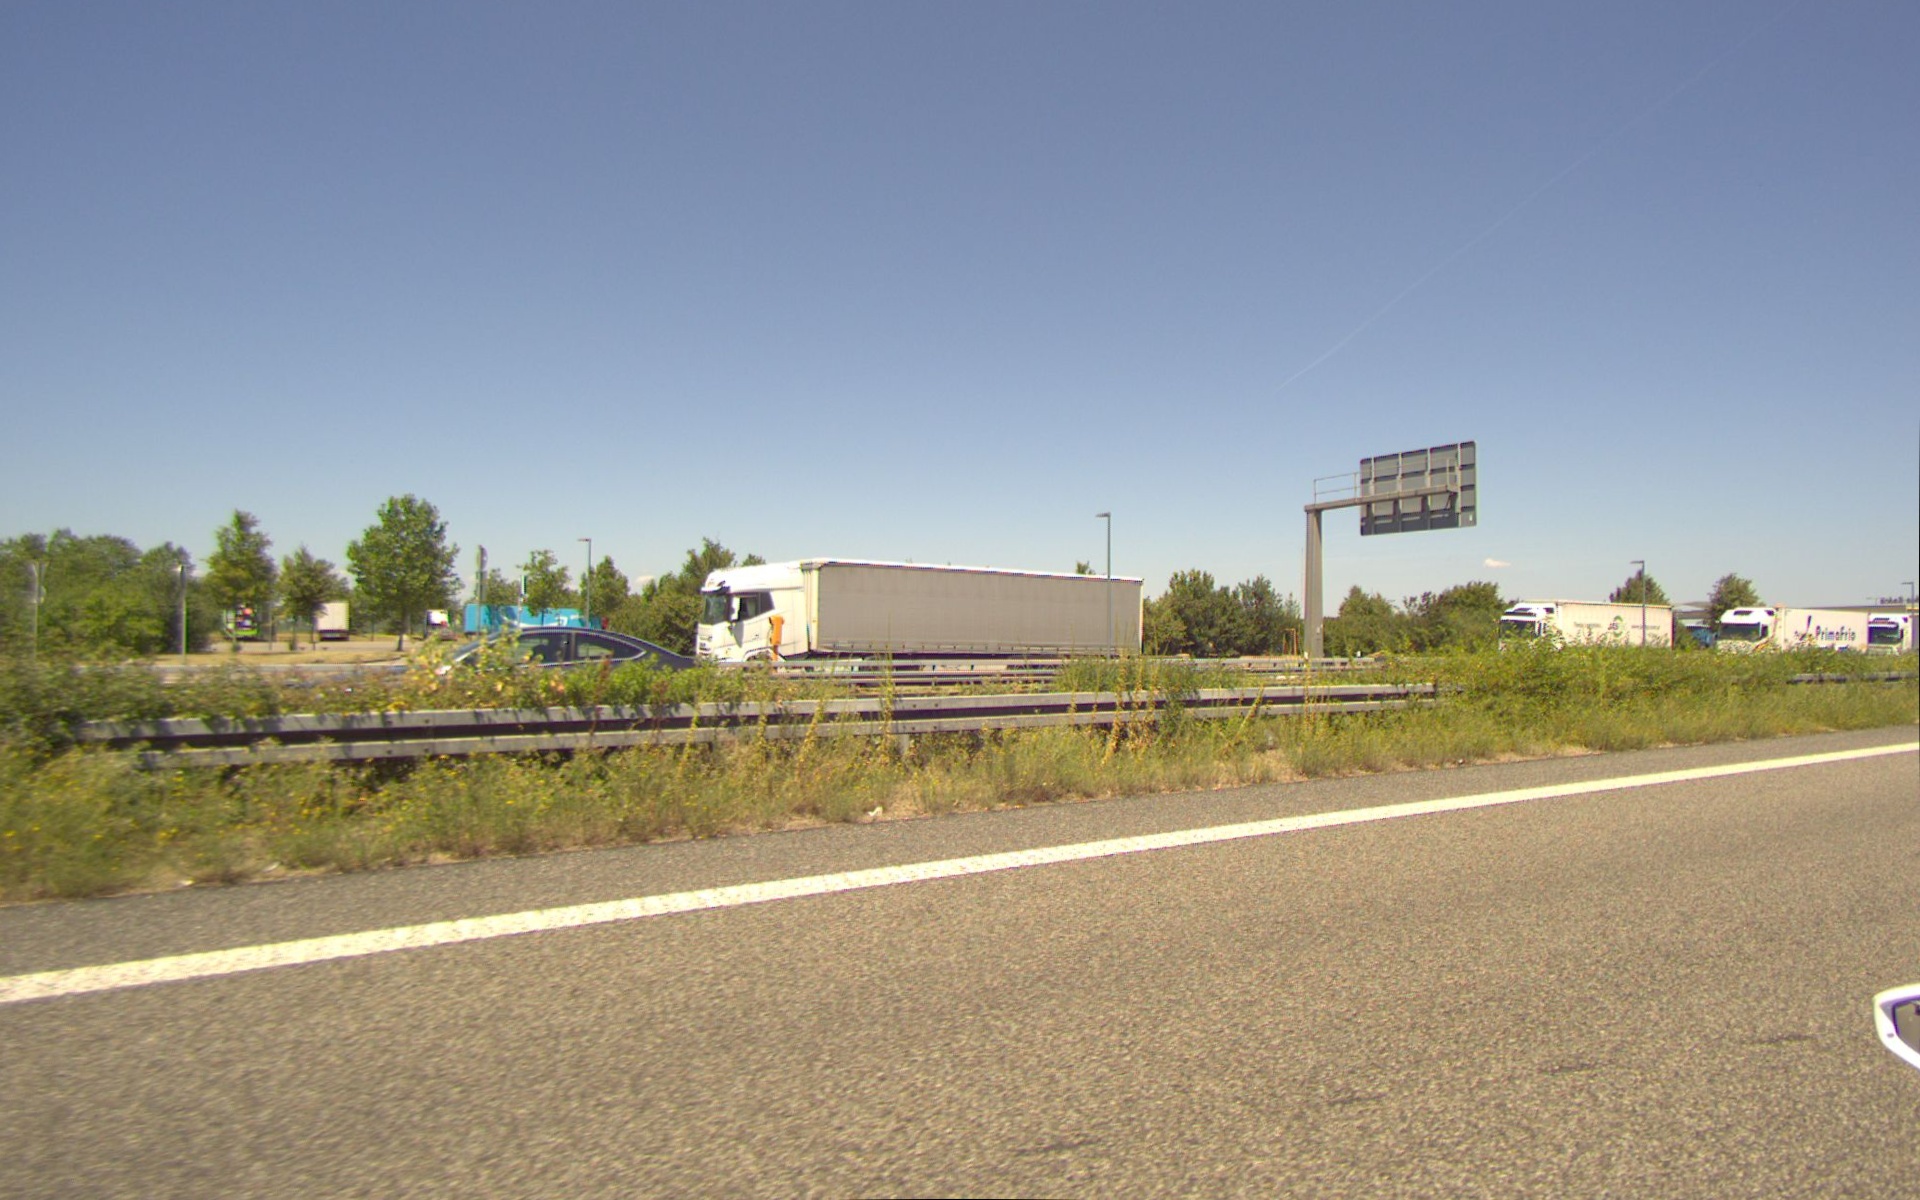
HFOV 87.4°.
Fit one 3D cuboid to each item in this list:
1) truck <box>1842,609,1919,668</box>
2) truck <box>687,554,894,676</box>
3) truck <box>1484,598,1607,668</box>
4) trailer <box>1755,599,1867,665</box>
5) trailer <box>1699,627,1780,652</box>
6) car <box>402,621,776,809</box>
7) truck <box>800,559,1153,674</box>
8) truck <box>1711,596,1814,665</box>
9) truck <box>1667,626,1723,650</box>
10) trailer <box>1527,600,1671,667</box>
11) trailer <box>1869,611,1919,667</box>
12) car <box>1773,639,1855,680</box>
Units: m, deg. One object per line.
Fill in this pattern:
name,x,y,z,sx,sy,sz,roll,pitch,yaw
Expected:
truck,70.742,2.901,76.631,7.420,4.213,3.100,2,0,-32
truck,-5.541,0.512,33.022,6.075,3.692,2.786,2,0,-30
truck,37.460,2.086,64.190,8.219,4.207,3.080,2,0,-31
trailer,58.609,2.204,69.071,10.393,4.275,2.585,2,0,-31
trailer,127.691,6.453,164.525,10.845,3.568,3.003,2,0,0
car,-4.319,1.221,11.795,3.859,1.828,1.745,2,0,-30
truck,1.006,0.703,36.892,13.447,3.692,2.785,2,0,-31
truck,52.087,1.994,65.170,7.844,4.244,2.569,2,0,-31
truck,120.313,6.229,164.506,6.931,3.536,2.983,2,0,0
trailer,43.080,2.262,67.538,11.871,4.211,3.078,2,0,-31
trailer,76.831,3.121,80.376,10.891,4.213,3.097,2,0,-32
car,40.986,2.831,48.166,4.357,1.770,1.642,2,0,-31
